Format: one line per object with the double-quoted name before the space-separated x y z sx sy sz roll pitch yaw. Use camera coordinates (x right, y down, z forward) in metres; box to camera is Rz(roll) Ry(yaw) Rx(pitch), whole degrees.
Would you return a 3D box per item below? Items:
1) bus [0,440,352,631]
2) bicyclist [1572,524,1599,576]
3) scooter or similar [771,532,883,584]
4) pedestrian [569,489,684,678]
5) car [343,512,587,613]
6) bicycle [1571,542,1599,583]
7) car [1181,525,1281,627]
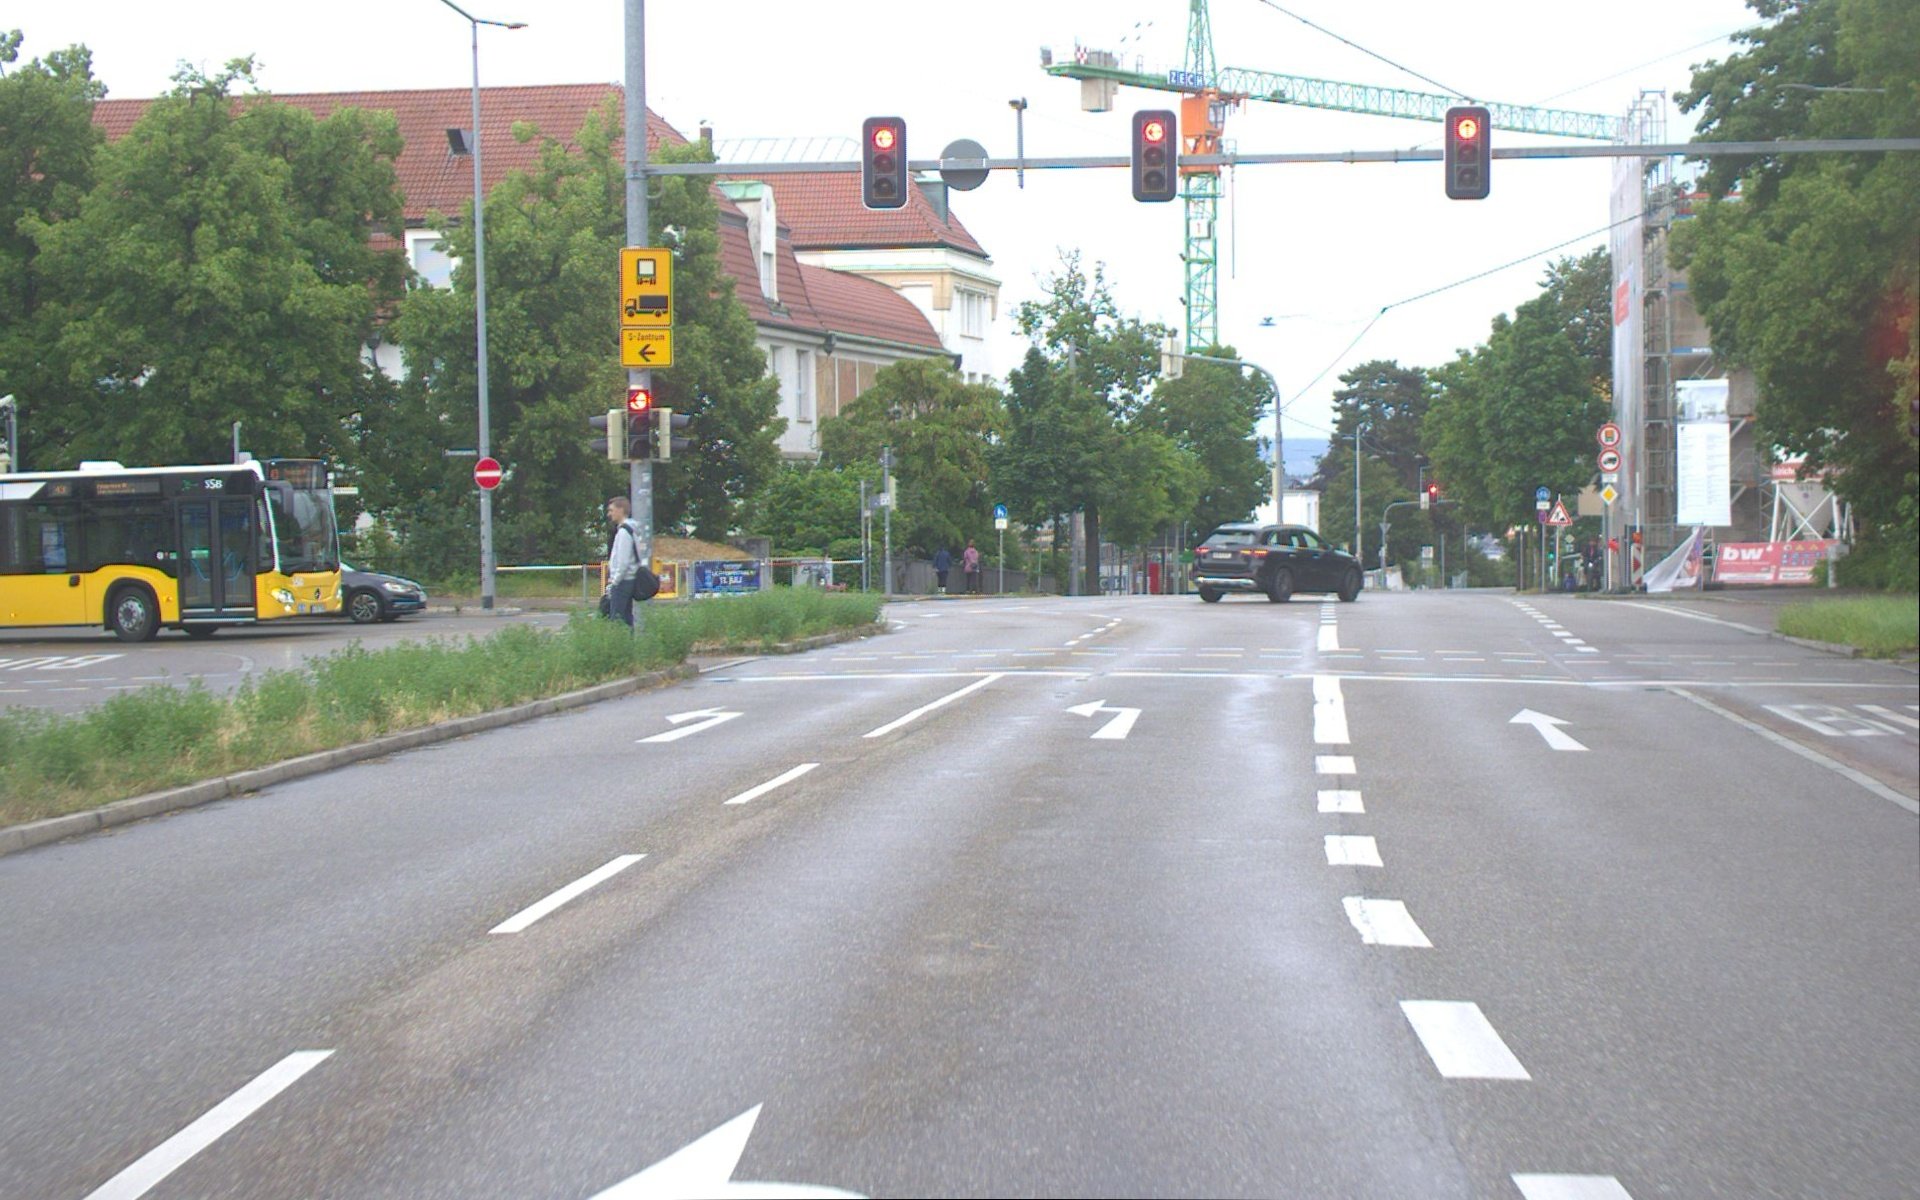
"bus" -15.501 -1.063 58.800 9.732 3.092 2.895 0 1 16
"bicyclist" 19.166 -1.536 105.409 0.720 1.558 1.142 1 0 8
"scooter or similar" -3.802 -1.200 98.215 3.088 1.435 0.949 -1 1 5
"pedestrian" -3.667 -0.189 37.872 0.941 2.007 0.847 -3 1 12
"car" -8.951 -0.669 62.335 3.988 1.700 1.999 1 0 5
"bicycle" 19.161 -1.144 105.409 0.720 1.189 1.755 1 0 8
"car" 5.702 -0.469 71.989 1.944 2.014 4.550 1 0 6
